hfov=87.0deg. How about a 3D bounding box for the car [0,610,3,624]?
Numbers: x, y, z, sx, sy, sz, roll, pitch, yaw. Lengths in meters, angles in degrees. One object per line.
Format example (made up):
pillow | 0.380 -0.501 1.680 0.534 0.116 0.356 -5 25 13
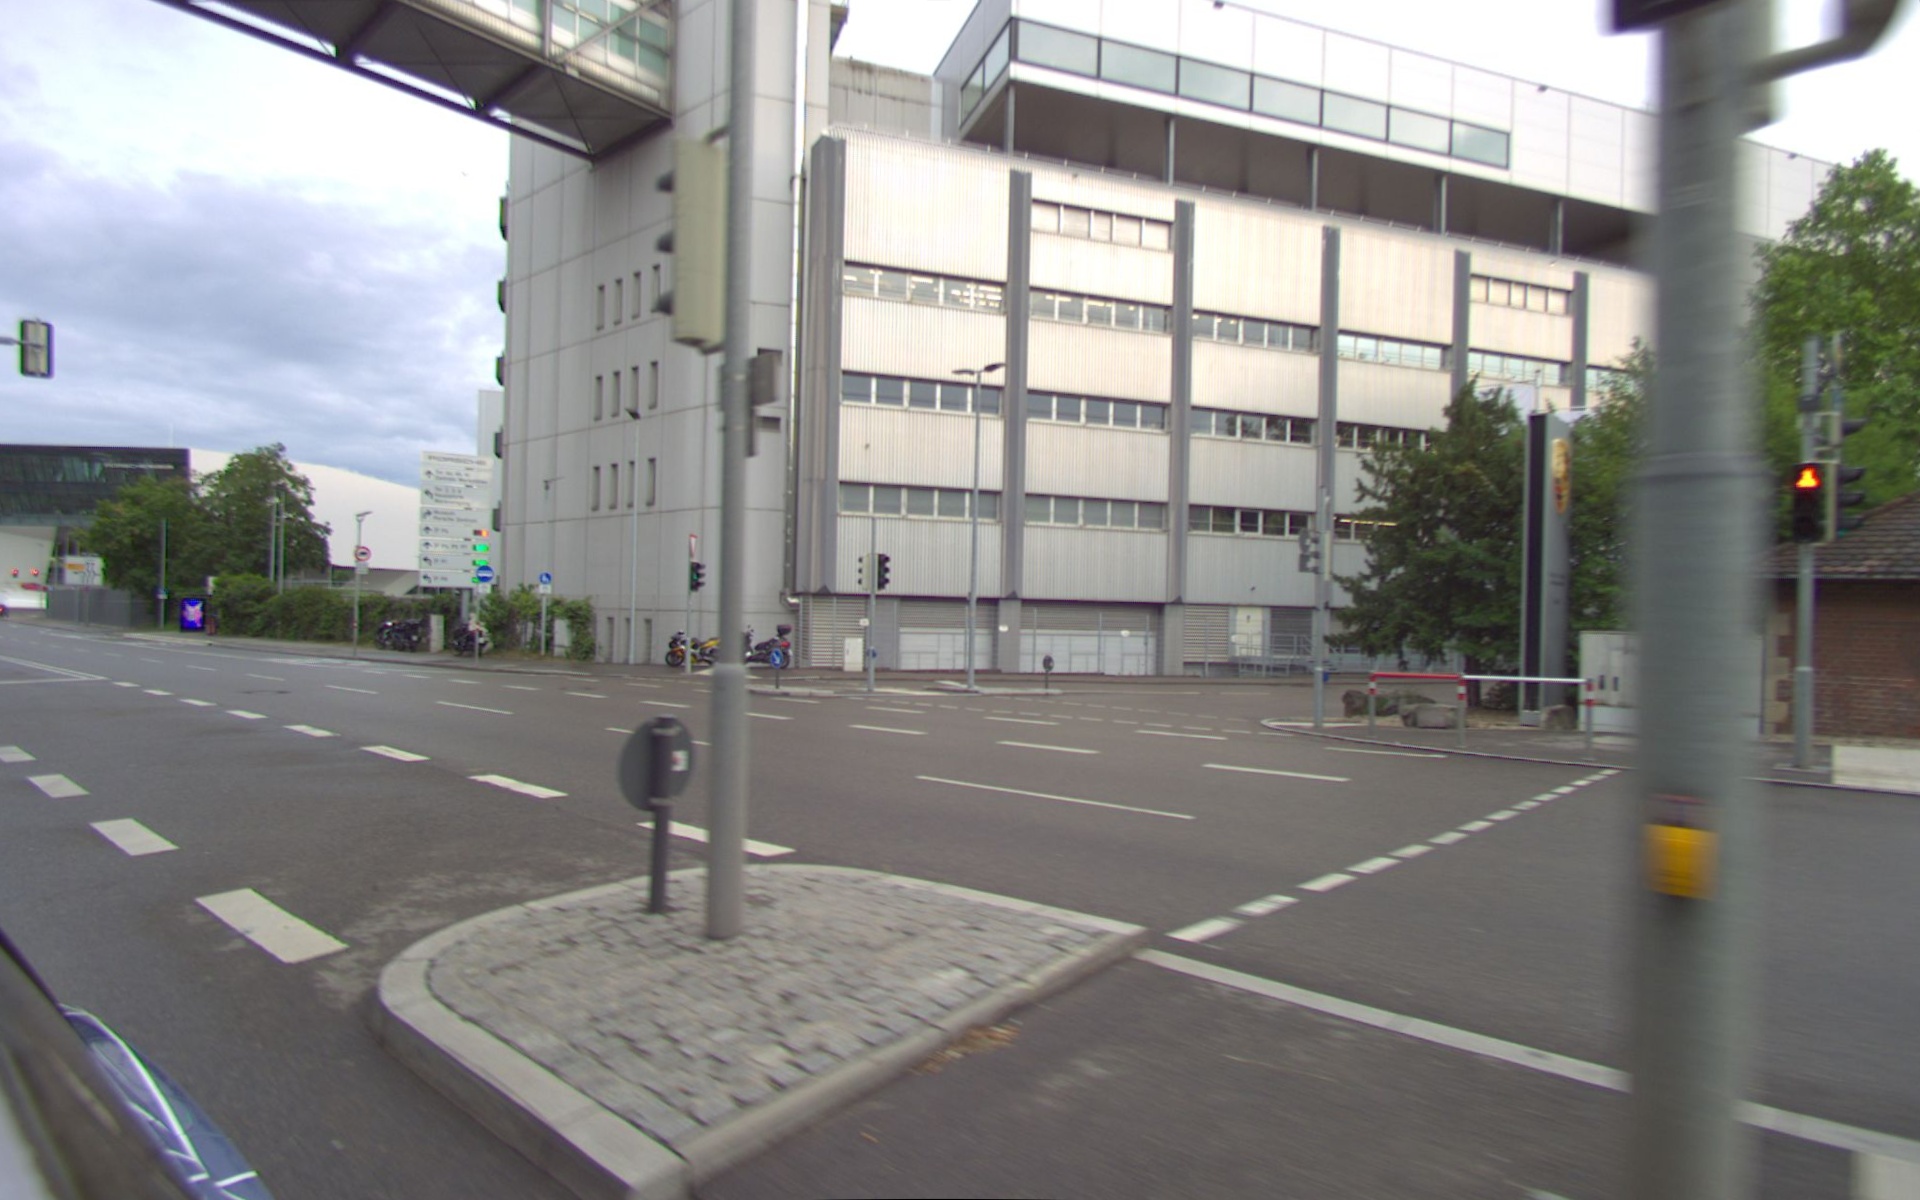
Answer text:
car | -113.352 1.962 118.321 4.485 1.602 1.752 -1 -3 43

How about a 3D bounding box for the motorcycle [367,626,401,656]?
motorcycle | -24.477 1.738 42.970 1.967 1.224 0.618 -1 -3 42

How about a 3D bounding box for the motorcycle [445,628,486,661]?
motorcycle | -18.363 1.636 37.553 2.037 1.171 0.561 -1 -3 40

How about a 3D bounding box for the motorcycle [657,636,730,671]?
motorcycle | -8.470 1.700 32.182 2.144 1.035 0.625 1 -2 6

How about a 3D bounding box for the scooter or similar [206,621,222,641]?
scooter or similar | -43.657 1.791 59.197 1.568 1.138 0.389 -1 -3 42

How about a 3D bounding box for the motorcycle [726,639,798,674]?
motorcycle | -6.212 1.752 31.818 2.150 1.035 0.624 1 -2 14

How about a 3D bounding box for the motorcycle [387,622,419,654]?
motorcycle | -22.609 1.518 41.034 0.617 1.277 2.173 0 -1 -43

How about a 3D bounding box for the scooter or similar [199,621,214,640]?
scooter or similar | -44.874 1.801 60.243 1.568 1.138 0.389 -1 -3 42
